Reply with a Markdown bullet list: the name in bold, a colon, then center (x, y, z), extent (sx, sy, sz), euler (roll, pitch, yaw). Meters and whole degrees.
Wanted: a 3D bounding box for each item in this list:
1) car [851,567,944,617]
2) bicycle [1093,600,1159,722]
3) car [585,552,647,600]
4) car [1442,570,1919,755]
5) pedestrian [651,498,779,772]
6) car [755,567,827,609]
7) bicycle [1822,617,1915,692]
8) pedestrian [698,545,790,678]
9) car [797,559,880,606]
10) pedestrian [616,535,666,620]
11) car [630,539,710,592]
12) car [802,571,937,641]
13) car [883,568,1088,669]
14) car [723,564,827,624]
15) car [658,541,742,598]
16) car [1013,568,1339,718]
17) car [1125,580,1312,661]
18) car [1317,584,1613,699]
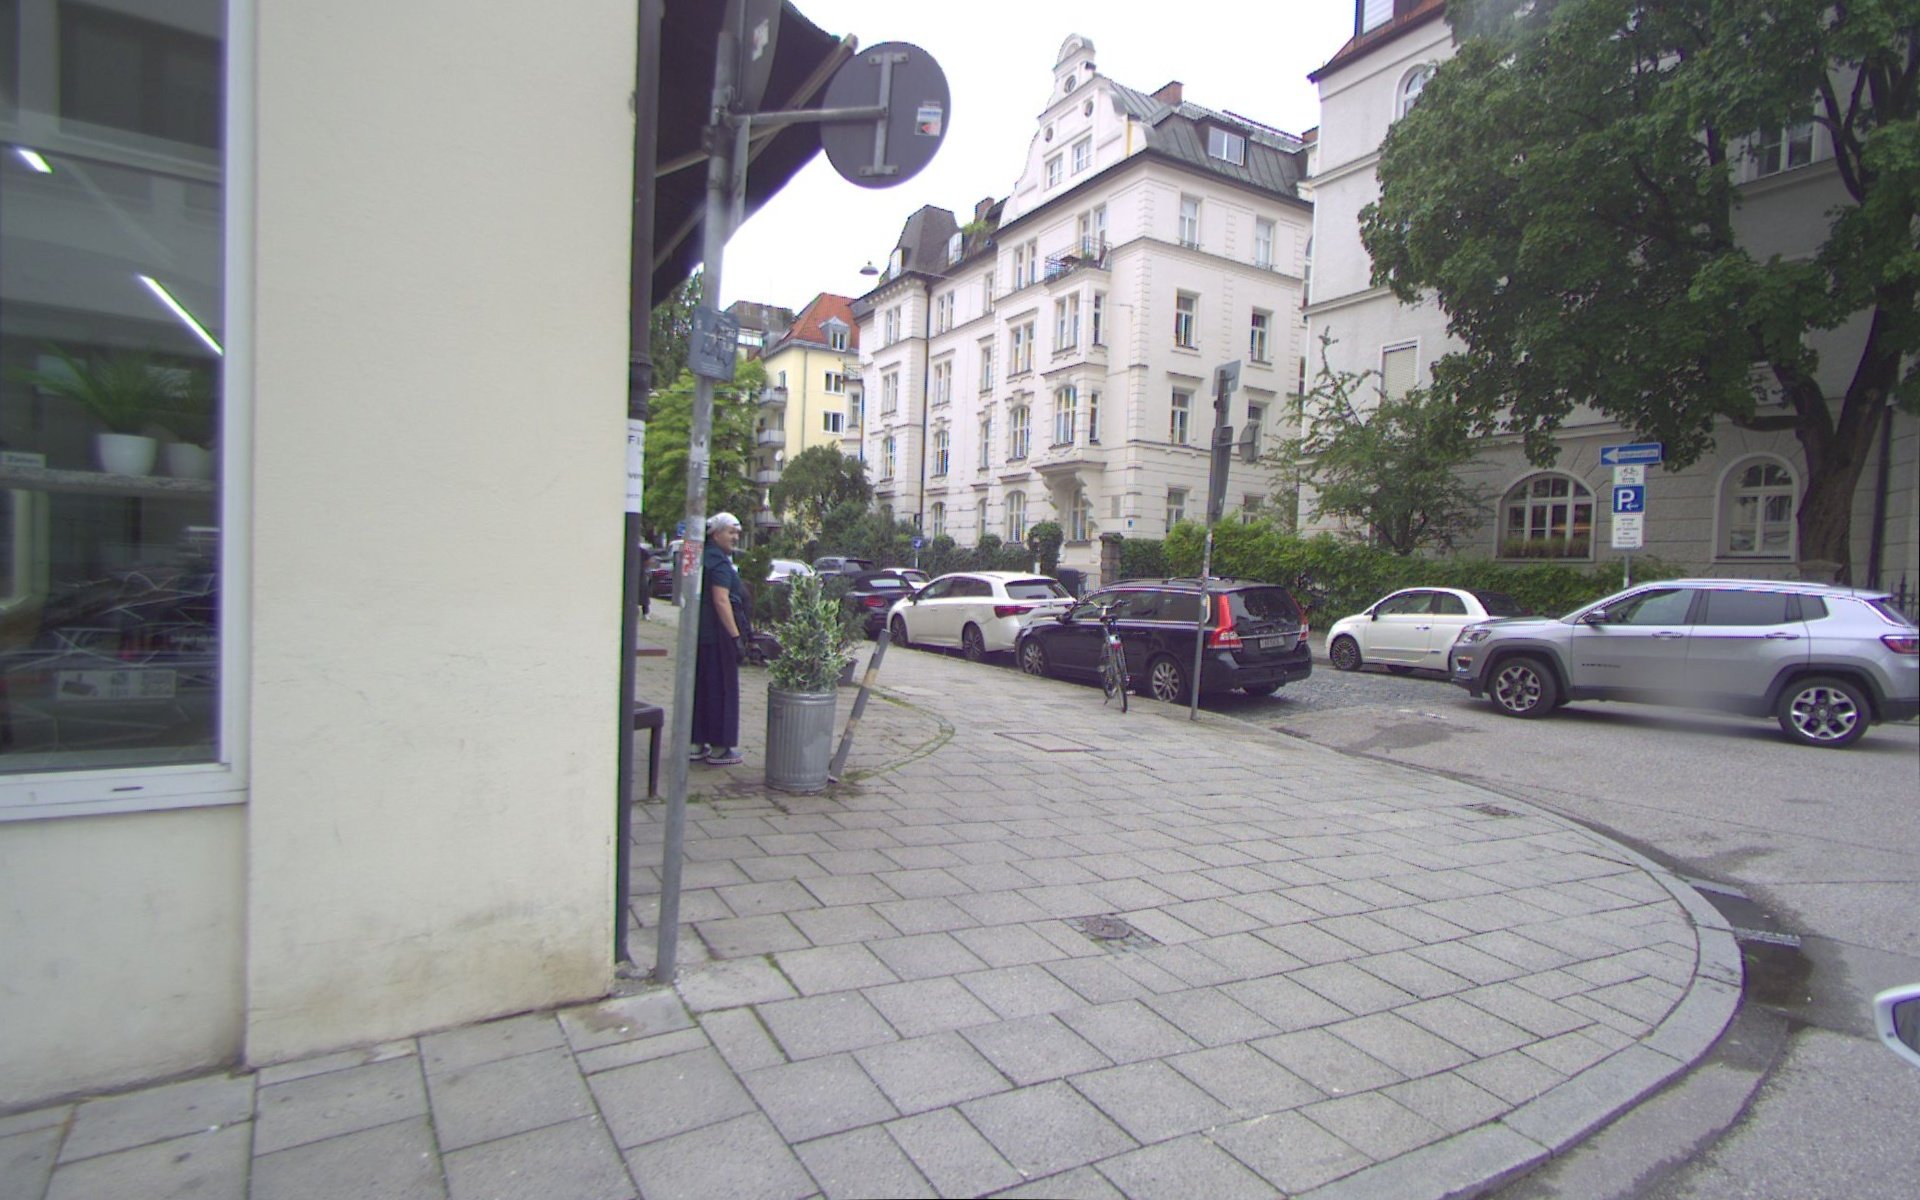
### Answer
- **car**: center (-2.202, -0.302, 34.290), extent (1.667, 1.554, 3.839), euler (1, 2, -29)
- **bicycle**: center (1.834, 0.624, 11.233), extent (0.597, 1.185, 1.836), euler (4, 2, 8)
- **car**: center (-14.539, -1.042, 42.339), extent (1.688, 1.885, 3.967), euler (1, 2, -30)
- **car**: center (7.975, 0.546, 11.268), extent (4.244, 1.629, 1.954), euler (3, 2, 41)
- **pedestrian**: center (-1.587, 0.206, 6.494), extent (0.597, 1.664, 0.535), euler (4, 2, 44)
- **car**: center (-5.983, -0.451, 35.405), extent (1.587, 1.348, 2.930), euler (1, 2, -29)
- **bicycle**: center (14.187, 0.828, 15.671), extent (1.804, 1.067, 0.491), euler (-1, 3, -29)
- **pedestrian**: center (-2.692, 0.139, 12.476), extent (0.842, 1.572, 0.743), euler (4, 1, -30)
- **car**: center (-4.694, -0.691, 38.408), extent (1.688, 1.669, 3.967), euler (1, 2, -30)
- **pedestrian**: center (-6.560, -0.468, 20.643), extent (0.725, 1.678, 0.785), euler (4, 1, -30)
- **car**: center (-10.005, -1.192, 34.464), extent (1.688, 1.669, 3.967), euler (1, 2, -30)
- **car**: center (-2.094, 0.090, 22.285), extent (1.574, 1.359, 3.784), euler (1, 2, -29)
- **car**: center (0.316, 0.226, 17.999), extent (1.665, 1.528, 4.227), euler (-1, 3, -31)
- **car**: center (-5.162, -0.198, 27.619), extent (1.600, 1.461, 3.969), euler (1, 2, -29)
- **car**: center (-12.238, -1.460, 47.129), extent (2.144, 2.509, 4.552), euler (1, 2, -38)
- **car**: center (2.695, 0.411, 13.544), extent (1.881, 1.537, 4.311), euler (-3, 4, -31)
- **car**: center (5.430, 0.375, 21.590), extent (1.631, 1.493, 3.971), euler (1, 2, -27)
- **car**: center (7.908, 0.569, 16.134), extent (1.664, 1.468, 3.970), euler (1, 2, -28)
